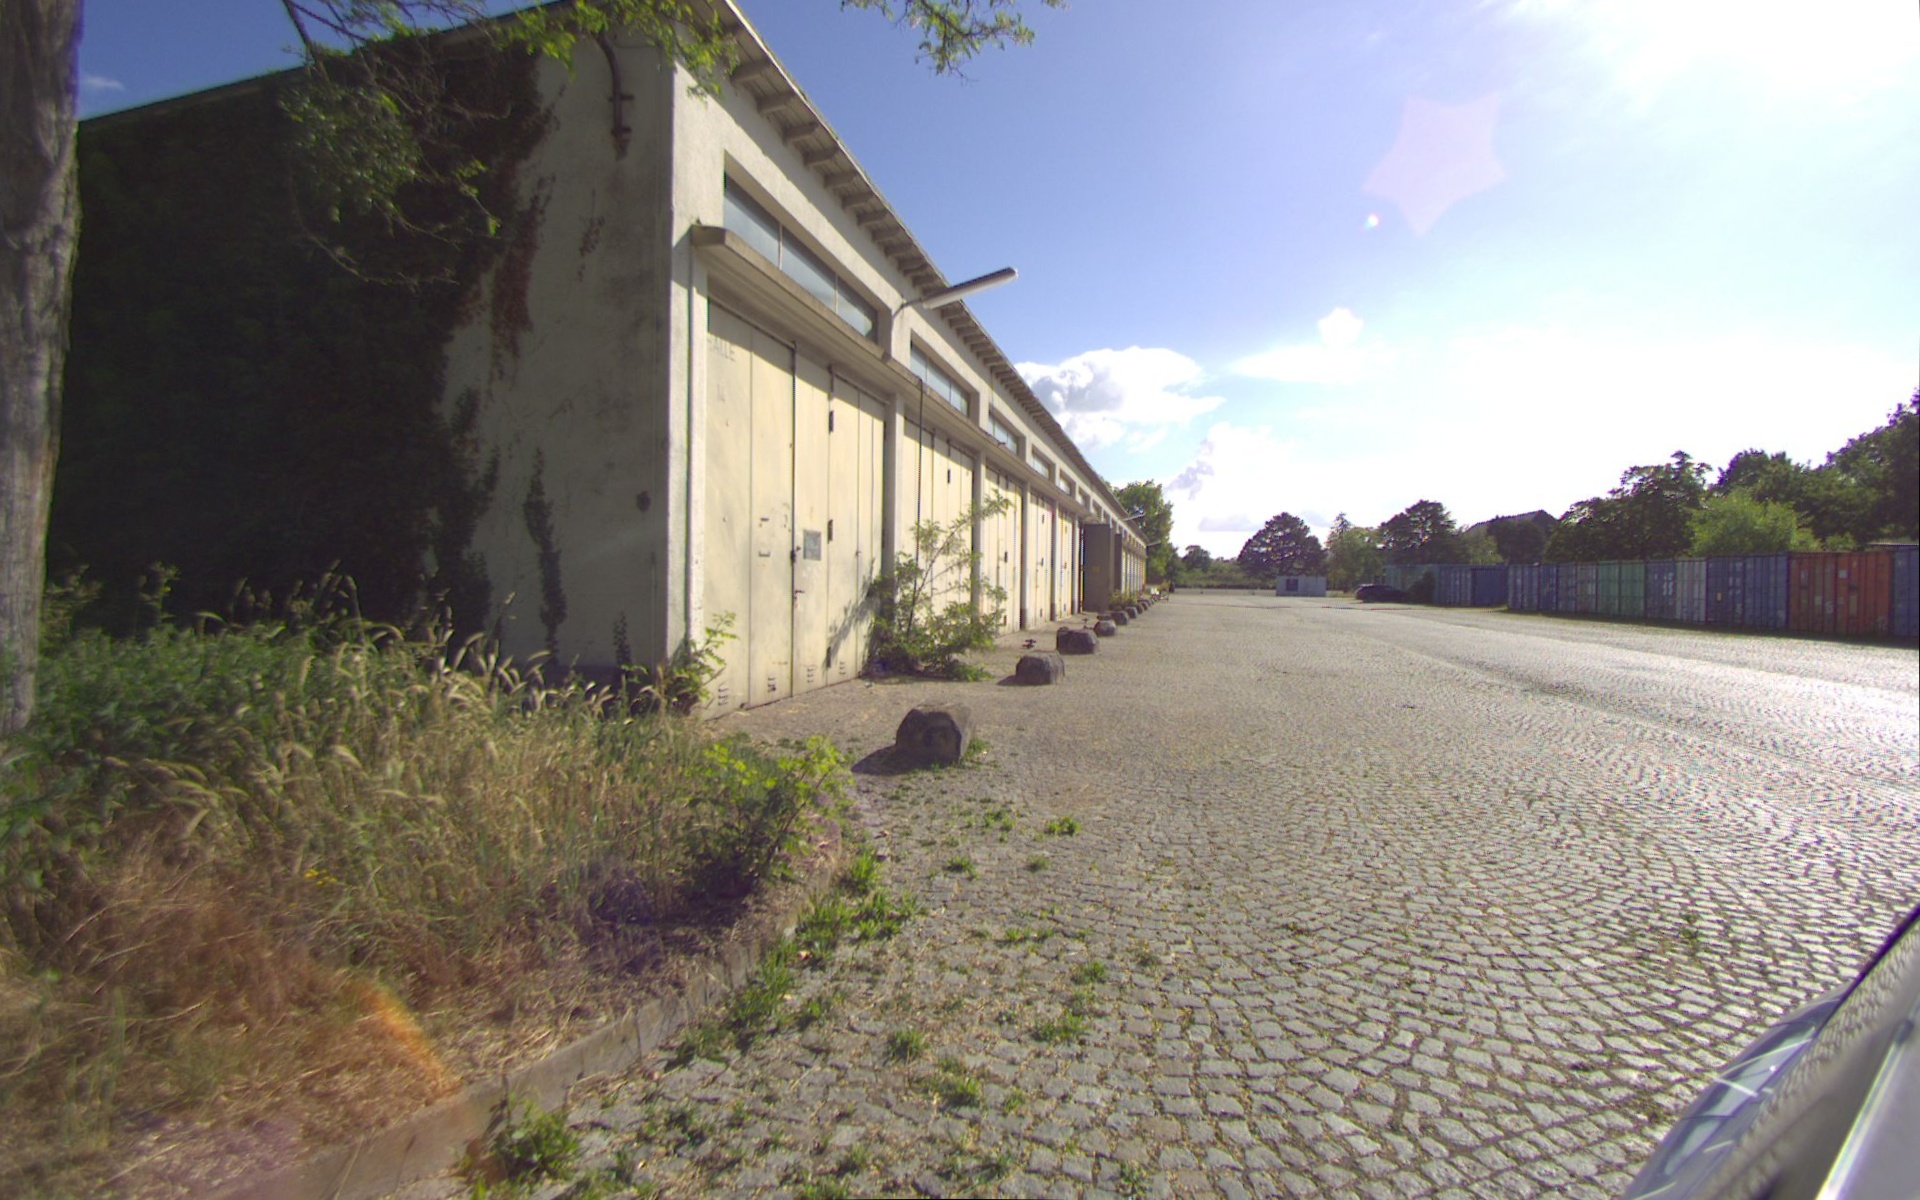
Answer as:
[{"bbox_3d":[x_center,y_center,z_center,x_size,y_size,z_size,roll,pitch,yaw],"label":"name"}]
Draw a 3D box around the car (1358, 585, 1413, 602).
[{"bbox_3d":[34.040,-0.525,81.087,3.815,1.282,1.585,0,1,11],"label":"car"}]
